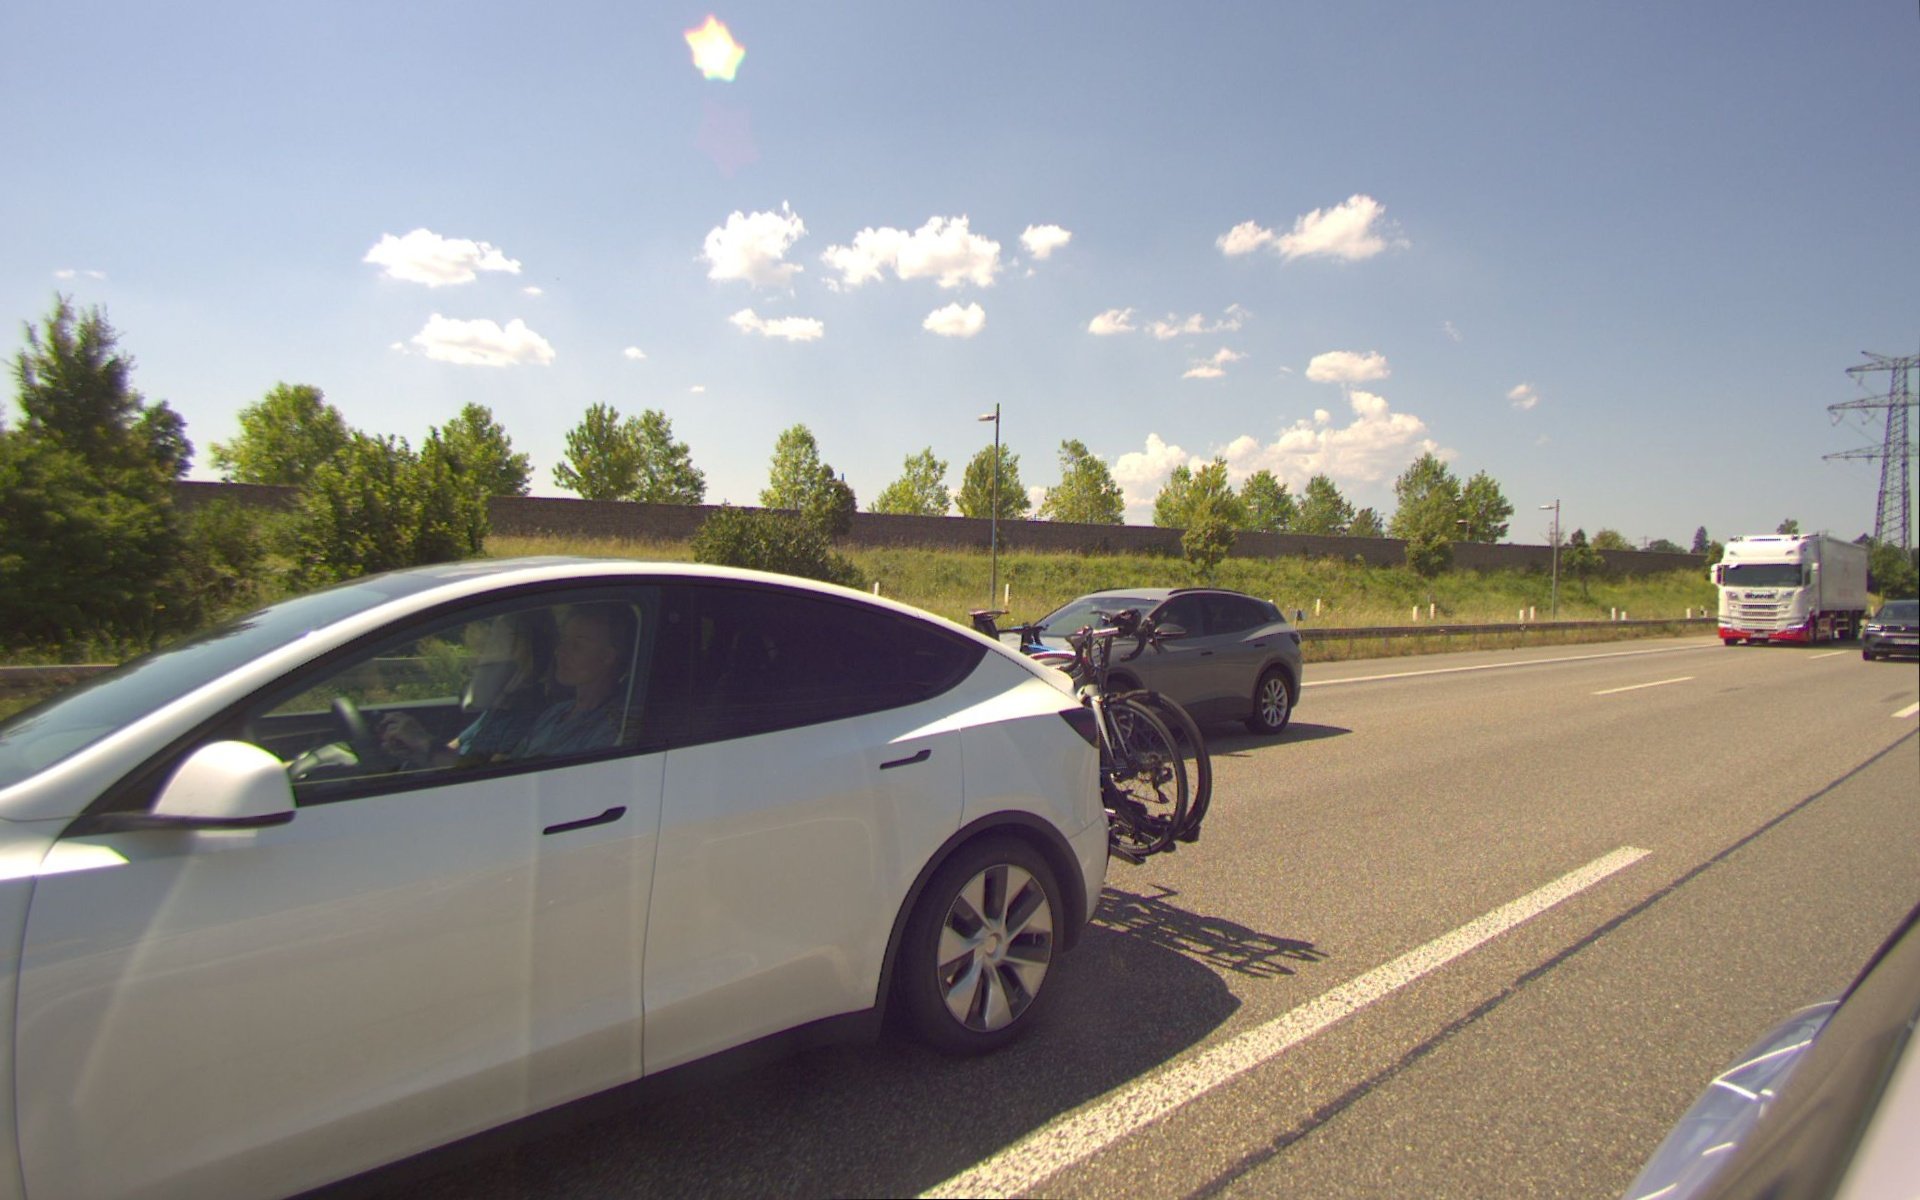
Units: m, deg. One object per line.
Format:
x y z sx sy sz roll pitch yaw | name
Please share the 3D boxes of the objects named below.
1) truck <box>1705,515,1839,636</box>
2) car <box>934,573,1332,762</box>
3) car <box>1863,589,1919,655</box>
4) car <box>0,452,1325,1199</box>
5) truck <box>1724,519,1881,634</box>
28.353 -0.811 35.311 3.781 3.957 3.073 0 0 -42 | truck
2.037 0.573 11.073 4.505 1.657 1.871 0 0 -41 | car
25.528 0.539 26.724 3.975 1.667 1.954 0 0 -40 | car
-1.022 0.568 3.537 5.504 1.657 1.953 0 0 -42 | car
33.558 -0.842 40.021 12.289 3.957 3.073 0 0 -42 | truck
